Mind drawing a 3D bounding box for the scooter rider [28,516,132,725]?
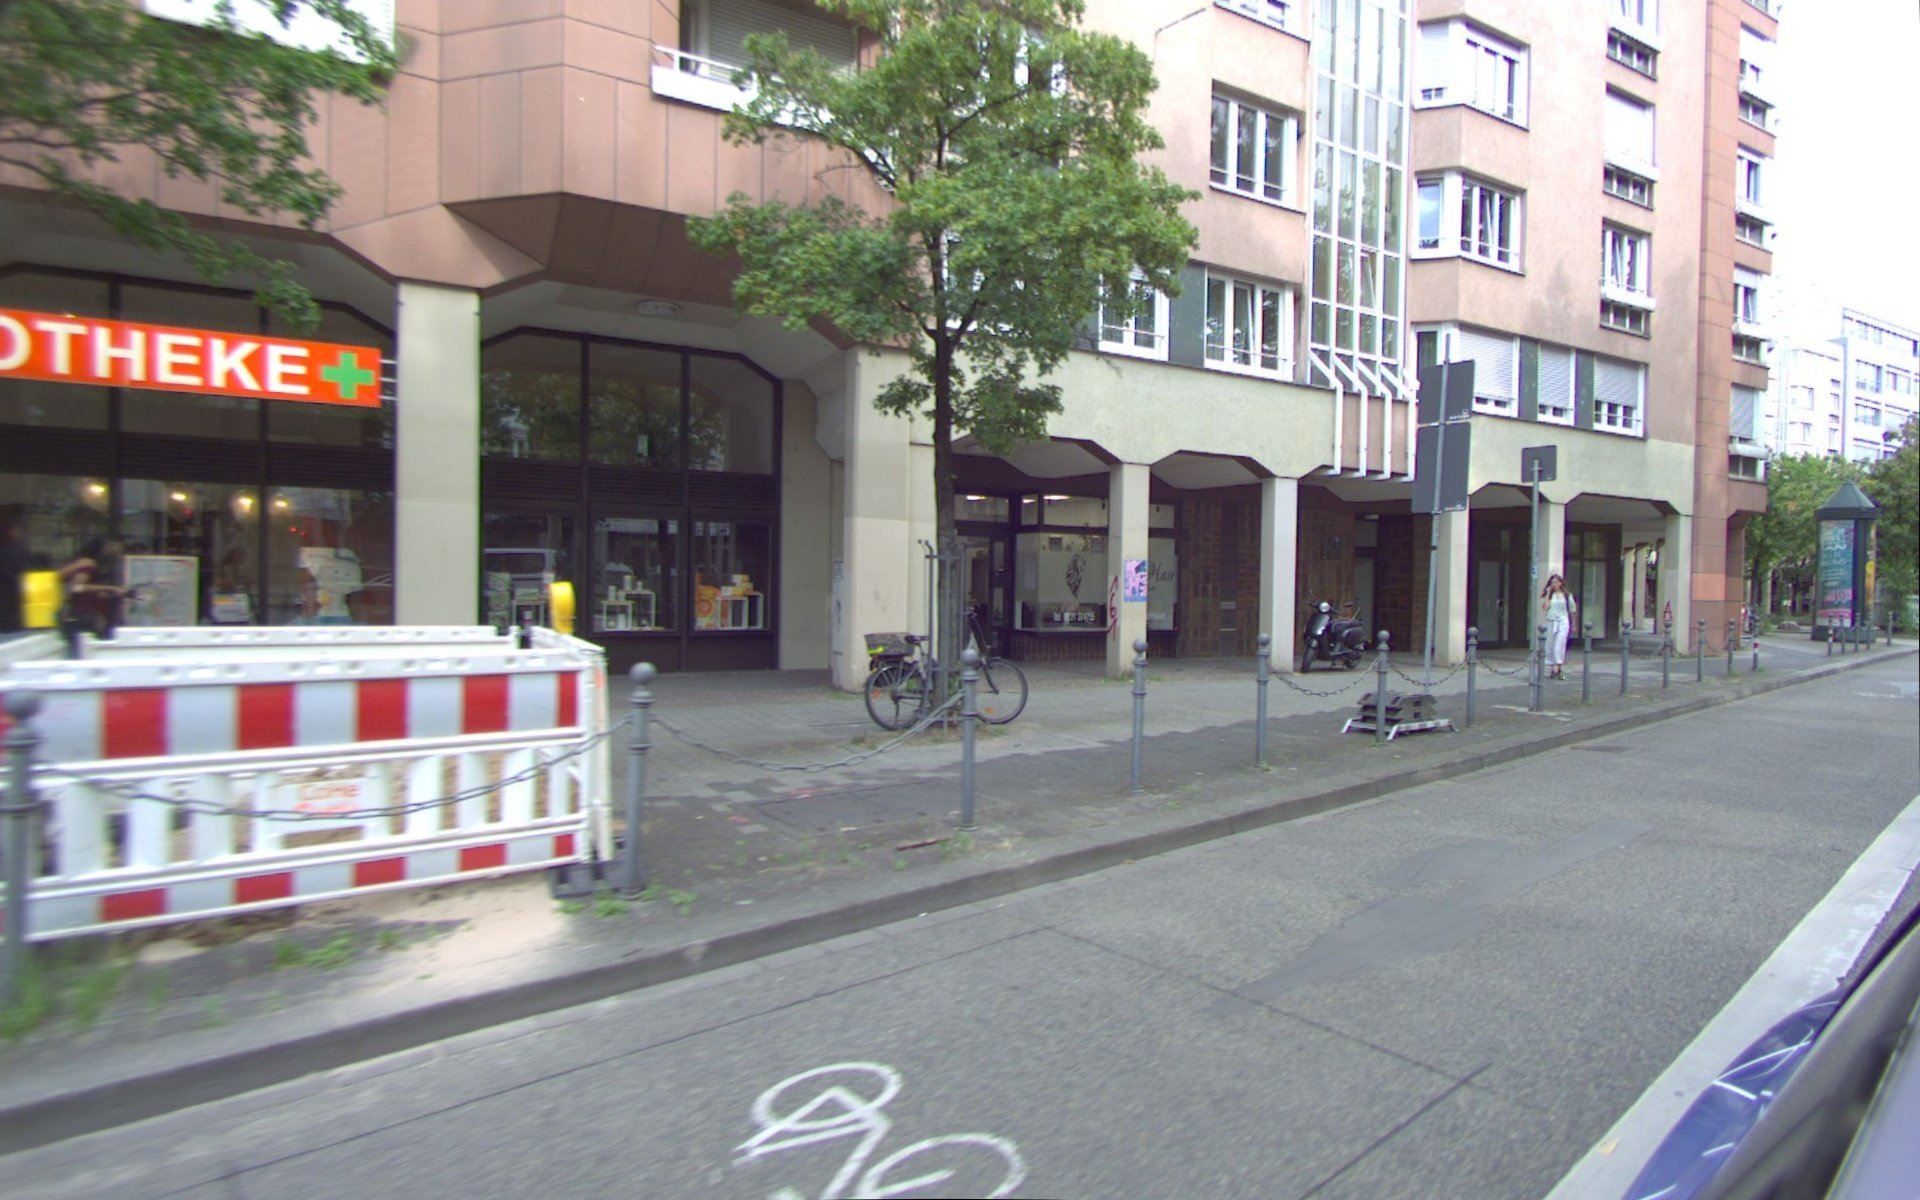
[{"bbox_3d":[-6.935,0.150,7.997,0.554,1.576,0.462,0,1,-32],"label":"scooter rider"}]

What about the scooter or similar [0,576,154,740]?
[{"bbox_3d":[-7.142,0.427,7.874,1.304,1.221,0.475,0,1,-32],"label":"scooter or similar"}]

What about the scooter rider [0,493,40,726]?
[{"bbox_3d":[-7.419,0.069,7.697,0.542,1.741,0.464,0,1,-32],"label":"scooter rider"}]

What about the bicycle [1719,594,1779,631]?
[{"bbox_3d":[26.197,0.404,33.652,0.658,1.142,1.665,1,2,1],"label":"bicycle"}]

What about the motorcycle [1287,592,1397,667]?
[{"bbox_3d":[6.391,0.480,16.913,1.865,1.170,0.620,1,2,-29],"label":"motorcycle"}]

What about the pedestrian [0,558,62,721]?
[{"bbox_3d":[-7.998,0.321,8.569,0.475,1.340,0.489,0,1,-26],"label":"pedestrian"}]

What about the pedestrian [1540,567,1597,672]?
[{"bbox_3d":[10.022,0.302,16.664,0.810,1.670,0.545,0,1,-40],"label":"pedestrian"}]

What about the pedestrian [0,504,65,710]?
[{"bbox_3d":[-8.679,0.053,9.179,0.644,1.822,0.554,0,1,-10],"label":"pedestrian"}]

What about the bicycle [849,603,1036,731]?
[{"bbox_3d":[-0.151,0.604,9.878,1.769,1.132,0.615,0,1,-33],"label":"bicycle"}]
